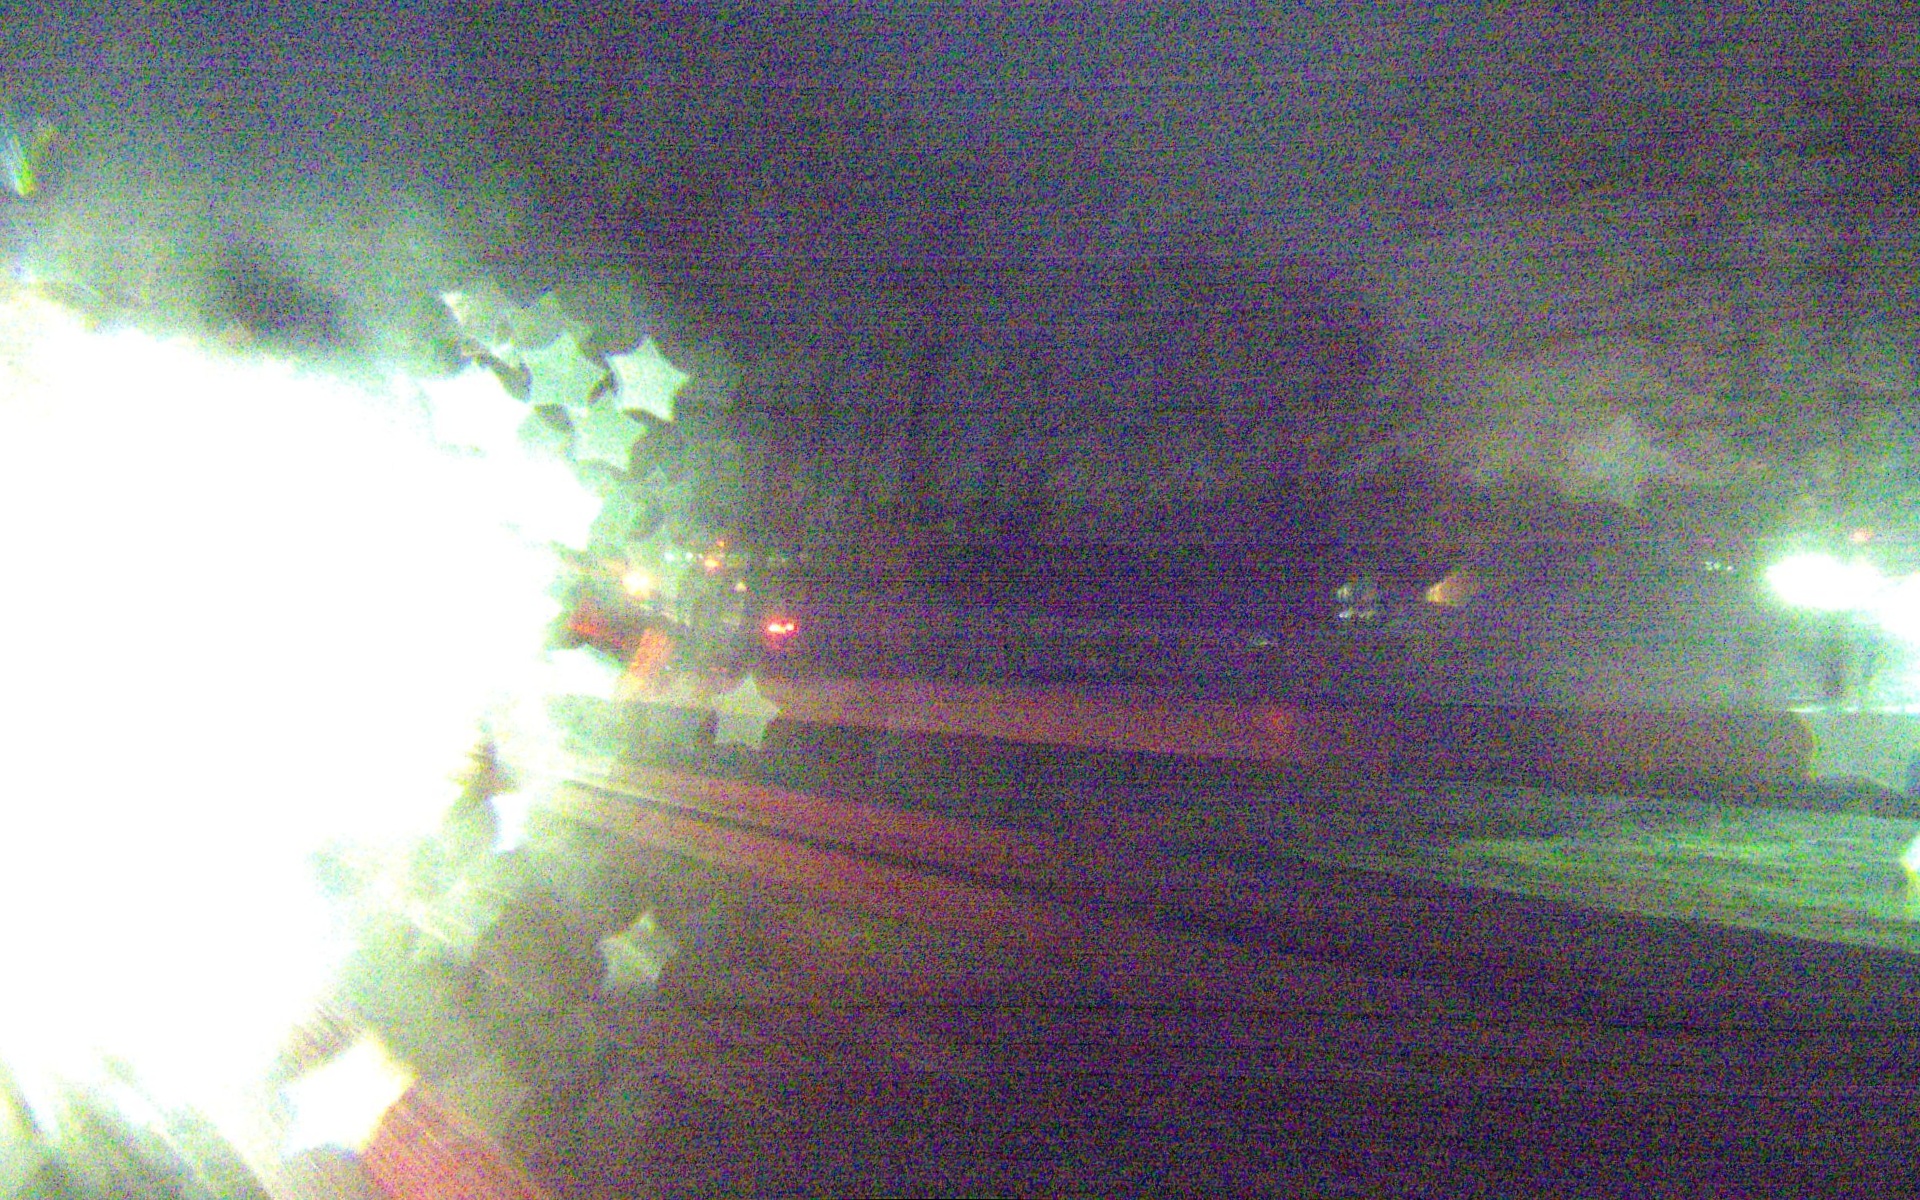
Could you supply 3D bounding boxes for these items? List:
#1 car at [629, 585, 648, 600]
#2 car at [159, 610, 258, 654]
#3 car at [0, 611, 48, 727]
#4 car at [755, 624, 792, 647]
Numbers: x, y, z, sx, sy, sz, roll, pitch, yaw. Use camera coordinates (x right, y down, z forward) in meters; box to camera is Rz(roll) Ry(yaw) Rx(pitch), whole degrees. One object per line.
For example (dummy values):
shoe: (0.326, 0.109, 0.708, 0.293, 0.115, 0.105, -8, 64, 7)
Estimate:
car: (-36.935, -0.832, 116.337, 1.715, 1.436, 4.115, -1, 4, -23)
car: (-24.289, 1.003, 32.863, 1.731, 1.322, 4.099, 2, -1, -25)
car: (-13.886, 0.893, 13.792, 1.660, 1.462, 3.651, 2, -1, -34)
car: (-13.315, 2.500, 72.111, 1.479, 1.438, 3.442, 1, 1, -30)
